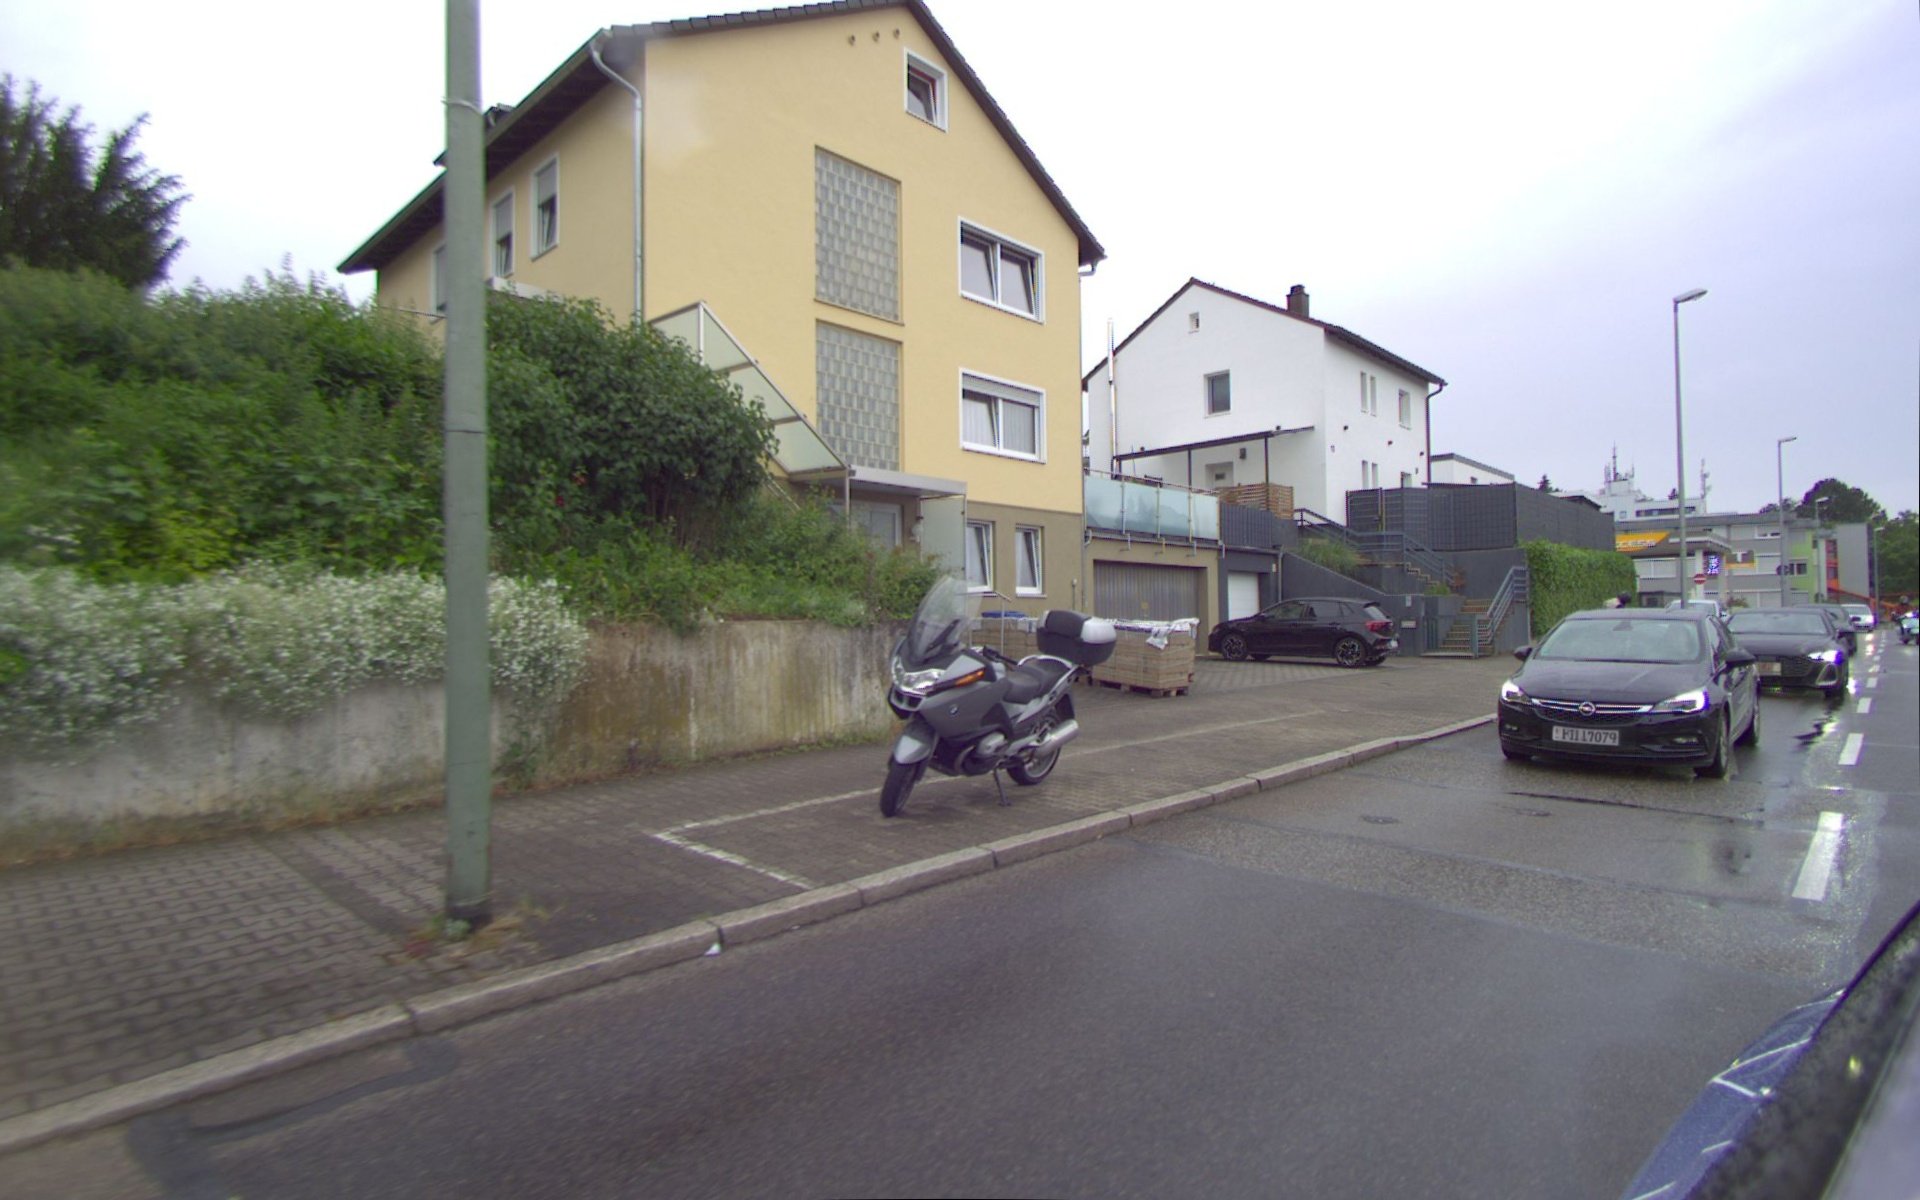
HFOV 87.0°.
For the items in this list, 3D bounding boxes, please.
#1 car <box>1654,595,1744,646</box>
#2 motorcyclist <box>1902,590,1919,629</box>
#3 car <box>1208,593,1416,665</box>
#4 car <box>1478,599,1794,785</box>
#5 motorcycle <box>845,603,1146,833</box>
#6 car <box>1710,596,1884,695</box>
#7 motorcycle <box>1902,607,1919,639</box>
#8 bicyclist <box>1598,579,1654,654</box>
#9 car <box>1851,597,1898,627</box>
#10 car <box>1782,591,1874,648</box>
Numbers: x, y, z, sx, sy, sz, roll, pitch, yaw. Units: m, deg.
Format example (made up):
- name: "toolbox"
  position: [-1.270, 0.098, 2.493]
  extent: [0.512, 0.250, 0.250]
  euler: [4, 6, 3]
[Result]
- name: "car"
  position: [23.404, 0.605, 32.012]
  extent: [1.733, 1.508, 3.935]
  euler: [0, 0, 45]
- name: "motorcyclist"
  position: [35.594, 0.357, 37.504]
  extent: [0.976, 1.440, 0.951]
  euler: [0, -1, -43]
- name: "car"
  position: [7.582, 0.558, 21.968]
  extent: [3.979, 1.421, 1.650]
  euler: [0, 0, 39]
- name: "car"
  position: [6.805, 0.724, 10.020]
  extent: [3.934, 1.415, 1.837]
  euler: [-1, 1, -44]
- name: "motorcycle"
  position: [0.349, 0.703, 7.123]
  extent: [0.692, 1.341, 2.440]
  euler: [0, 0, 43]
- name: "car"
  position: [14.689, 0.680, 17.653]
  extent: [1.906, 1.415, 4.779]
  euler: [0, 1, 45]
- name: "motorcycle"
  position: [35.781, 0.839, 37.629]
  extent: [2.366, 1.121, 0.942]
  euler: [0, 0, -43]
- name: "bicyclist"
  position: [15.102, 0.361, 22.942]
  extent: [0.889, 1.663, 0.810]
  euler: [0, 0, -36]
- name: "car"
  position: [49.302, 0.658, 54.584]
  extent: [1.835, 1.500, 3.938]
  euler: [0, -1, 42]
- name: "car"
  position: [26.148, 0.614, 30.438]
  extent: [1.836, 1.476, 3.934]
  euler: [0, -4, 45]
